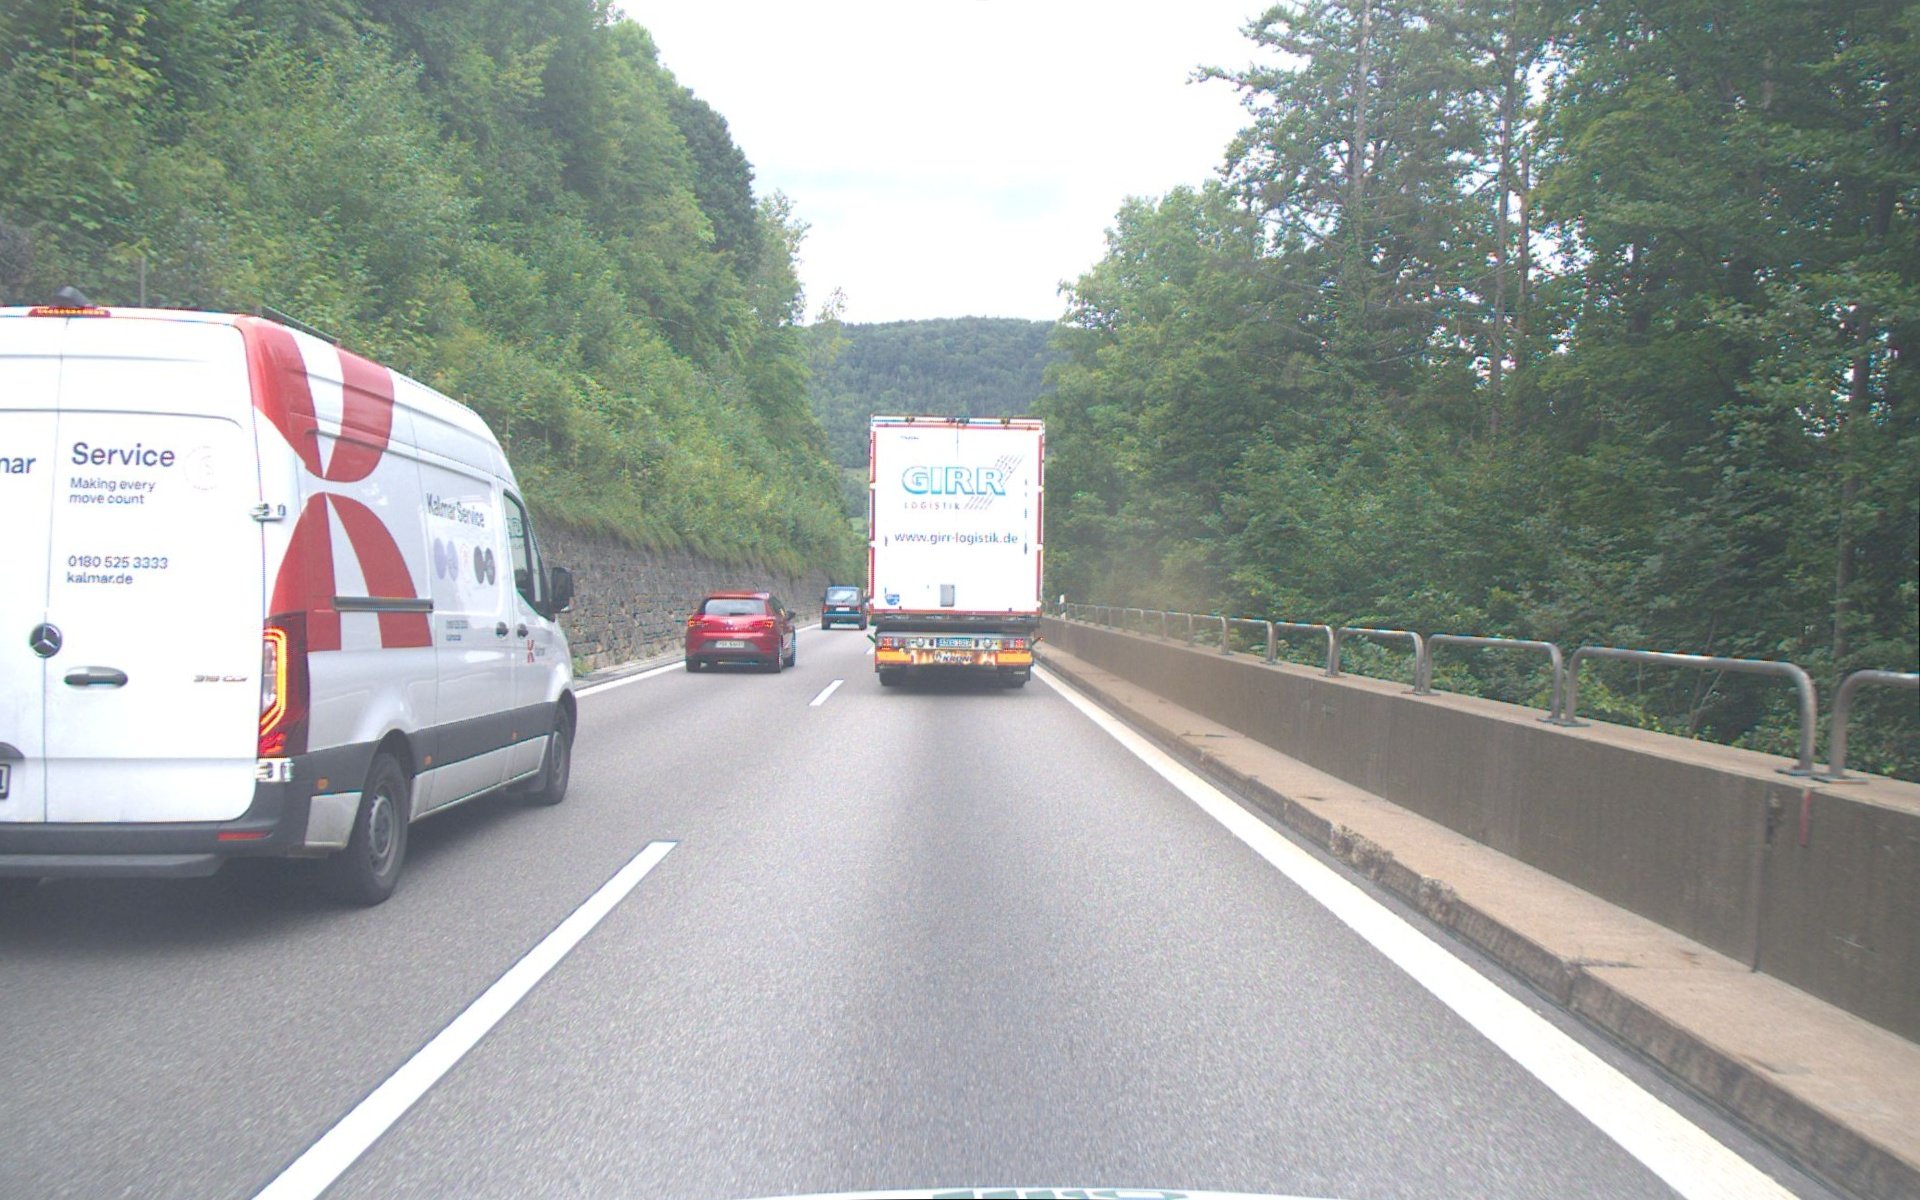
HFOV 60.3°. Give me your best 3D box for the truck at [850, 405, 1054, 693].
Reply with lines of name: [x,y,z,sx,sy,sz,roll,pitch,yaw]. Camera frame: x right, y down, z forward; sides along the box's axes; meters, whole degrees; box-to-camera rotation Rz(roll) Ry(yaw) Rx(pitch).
truck: [-0.103,-0.728,27.827,2.849,4.030,9.278,0,0,0]

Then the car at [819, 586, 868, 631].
car: [-4.445,0.307,63.704,1.635,1.667,4.067,0,0,-1]

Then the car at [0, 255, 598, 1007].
car: [-3.567,0.116,8.917,1.985,2.630,6.273,0,0,-1]

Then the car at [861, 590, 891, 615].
car: [-5.126,0.136,100.982,1.694,1.512,3.999,0,0,-1]

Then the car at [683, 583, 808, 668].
car: [-3.959,0.447,31.149,1.730,1.485,4.411,0,0,0]
